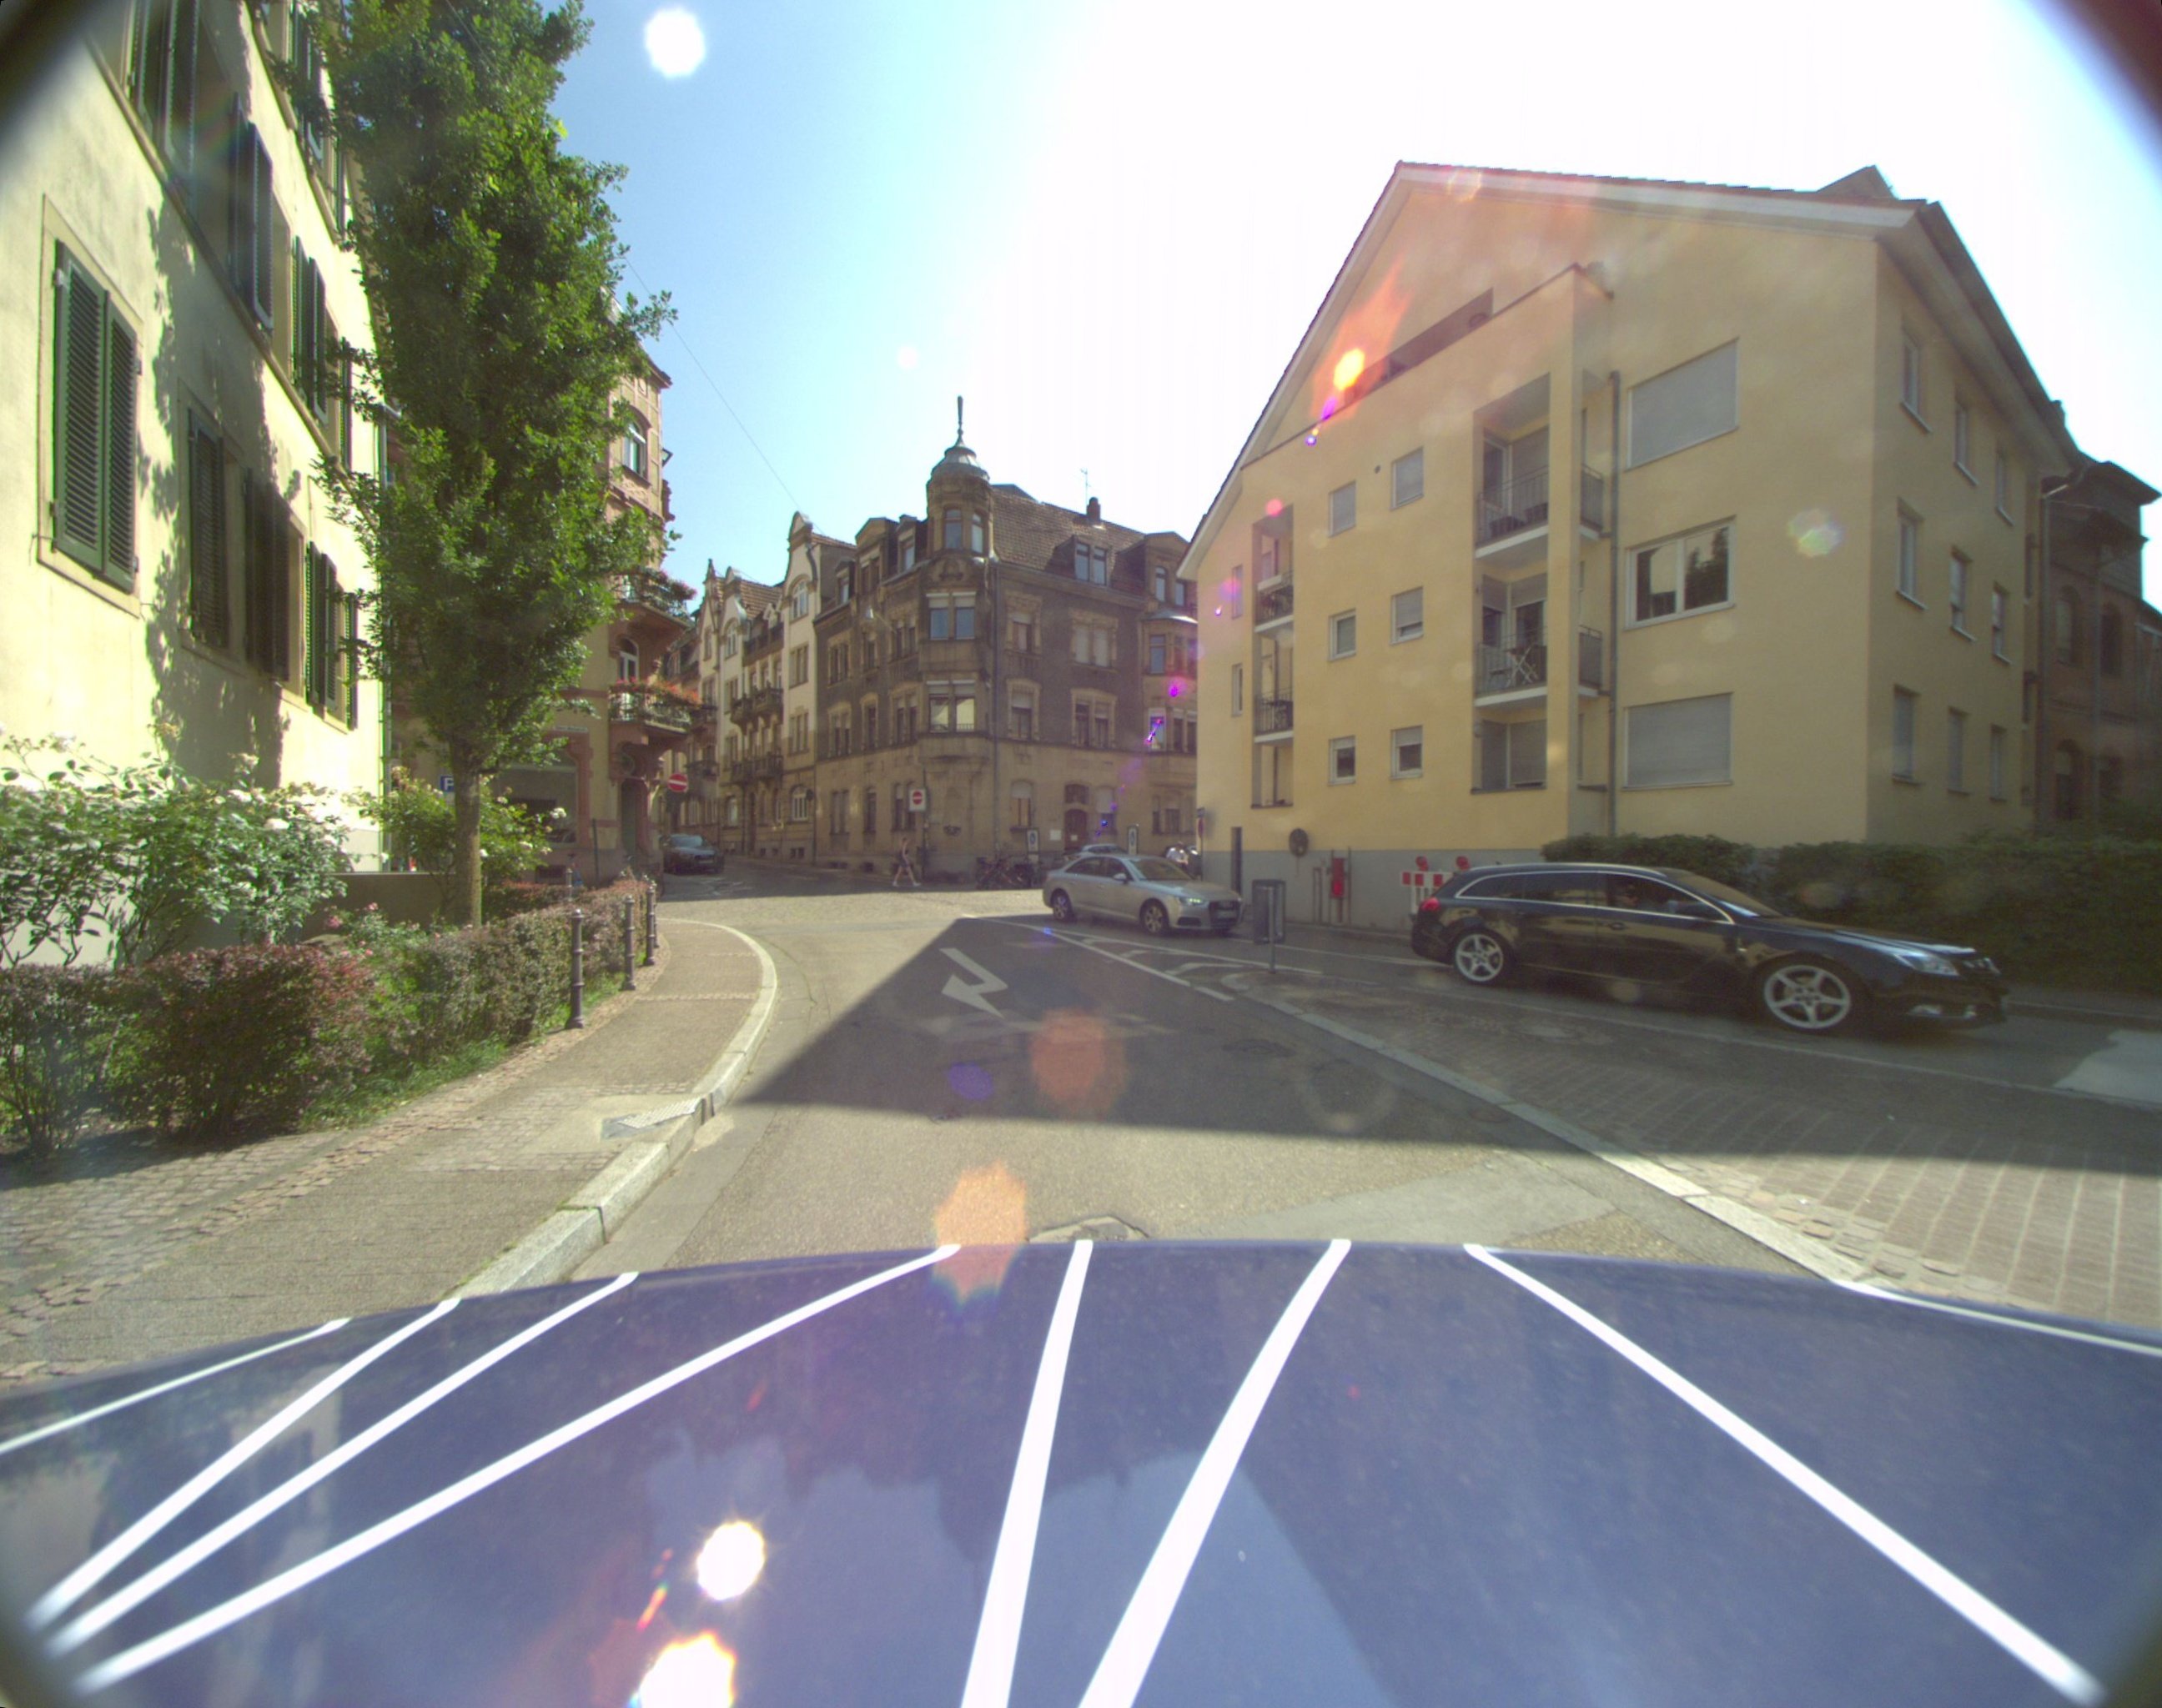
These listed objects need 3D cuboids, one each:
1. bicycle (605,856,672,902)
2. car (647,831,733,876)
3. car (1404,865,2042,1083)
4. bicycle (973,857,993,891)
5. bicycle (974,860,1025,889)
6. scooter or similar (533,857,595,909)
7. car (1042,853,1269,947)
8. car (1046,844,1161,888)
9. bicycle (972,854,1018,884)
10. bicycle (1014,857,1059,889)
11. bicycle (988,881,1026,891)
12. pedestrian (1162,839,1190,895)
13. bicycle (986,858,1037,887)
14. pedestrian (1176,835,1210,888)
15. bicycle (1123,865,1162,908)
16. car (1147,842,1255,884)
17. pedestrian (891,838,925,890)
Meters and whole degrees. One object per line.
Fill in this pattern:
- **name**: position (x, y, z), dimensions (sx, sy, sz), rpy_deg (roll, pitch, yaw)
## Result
- **bicycle**: position (-11.763, 0.650, 20.190), dimensions (1.789, 1.140, 0.506), rpy_deg (1, 1, 20)
- **car**: position (-15.780, -0.068, 30.568), dimensions (1.866, 1.574, 4.246), rpy_deg (-3, 4, -44)
- **car**: position (6.023, 0.909, 7.828), dimensions (1.723, 1.453, 4.711), rpy_deg (2, -1, -36)
- **bicycle**: position (-3.373, 0.664, 26.075), dimensions (0.286, 1.080, 1.639), rpy_deg (-3, 2, -19)
- **bicycle**: position (-2.826, 0.714, 26.422), dimensions (1.637, 1.084, 0.285), rpy_deg (2, 46, 45)
- **scooter or similar**: position (-12.685, 0.683, 18.668), dimensions (0.441, 1.228, 1.193), rpy_deg (1, 1, 43)
- **car**: position (1.254, 0.748, 14.644), dimensions (1.881, 1.484, 4.370), rpy_deg (0, 1, -37)
- **car**: position (0.852, 0.413, 28.319), dimensions (3.935, 1.535, 1.847), rpy_deg (0, 1, -34)
- **bicycle**: position (-3.220, 0.557, 28.460), dimensions (1.645, 1.080, 0.494), rpy_deg (0, 5, -34)
- **bicycle**: position (-1.560, 0.683, 26.526), dimensions (1.638, 1.079, 0.286), rpy_deg (-2, -2, 29)
- **bicycle**: position (-2.558, 1.086, 26.138), dimensions (1.079, 0.286, 1.122), rpy_deg (0, 1, -19)
- **pedestrian**: position (2.795, 0.373, 22.331), dimensions (0.658, 1.609, 0.491), rpy_deg (-1, 2, -34)
- **bicycle**: position (-2.459, 0.643, 26.758), dimensions (1.637, 1.084, 0.285), rpy_deg (2, 46, 45)
- **pedestrian**: position (3.492, 0.234, 23.765), dimensions (0.758, 1.609, 0.689), rpy_deg (-2, 1, -33)
- **bicycle**: position (1.661, 0.868, 20.830), dimensions (0.392, 1.073, 1.907), rpy_deg (0, 1, -16)
- **car**: position (4.817, 0.307, 30.359), dimensions (4.007, 1.535, 1.848), rpy_deg (-1, 1, -33)
- **pedestrian**: position (-5.992, 0.324, 26.274), dimensions (0.982, 1.749, 0.621), rpy_deg (-1, 5, -34)
